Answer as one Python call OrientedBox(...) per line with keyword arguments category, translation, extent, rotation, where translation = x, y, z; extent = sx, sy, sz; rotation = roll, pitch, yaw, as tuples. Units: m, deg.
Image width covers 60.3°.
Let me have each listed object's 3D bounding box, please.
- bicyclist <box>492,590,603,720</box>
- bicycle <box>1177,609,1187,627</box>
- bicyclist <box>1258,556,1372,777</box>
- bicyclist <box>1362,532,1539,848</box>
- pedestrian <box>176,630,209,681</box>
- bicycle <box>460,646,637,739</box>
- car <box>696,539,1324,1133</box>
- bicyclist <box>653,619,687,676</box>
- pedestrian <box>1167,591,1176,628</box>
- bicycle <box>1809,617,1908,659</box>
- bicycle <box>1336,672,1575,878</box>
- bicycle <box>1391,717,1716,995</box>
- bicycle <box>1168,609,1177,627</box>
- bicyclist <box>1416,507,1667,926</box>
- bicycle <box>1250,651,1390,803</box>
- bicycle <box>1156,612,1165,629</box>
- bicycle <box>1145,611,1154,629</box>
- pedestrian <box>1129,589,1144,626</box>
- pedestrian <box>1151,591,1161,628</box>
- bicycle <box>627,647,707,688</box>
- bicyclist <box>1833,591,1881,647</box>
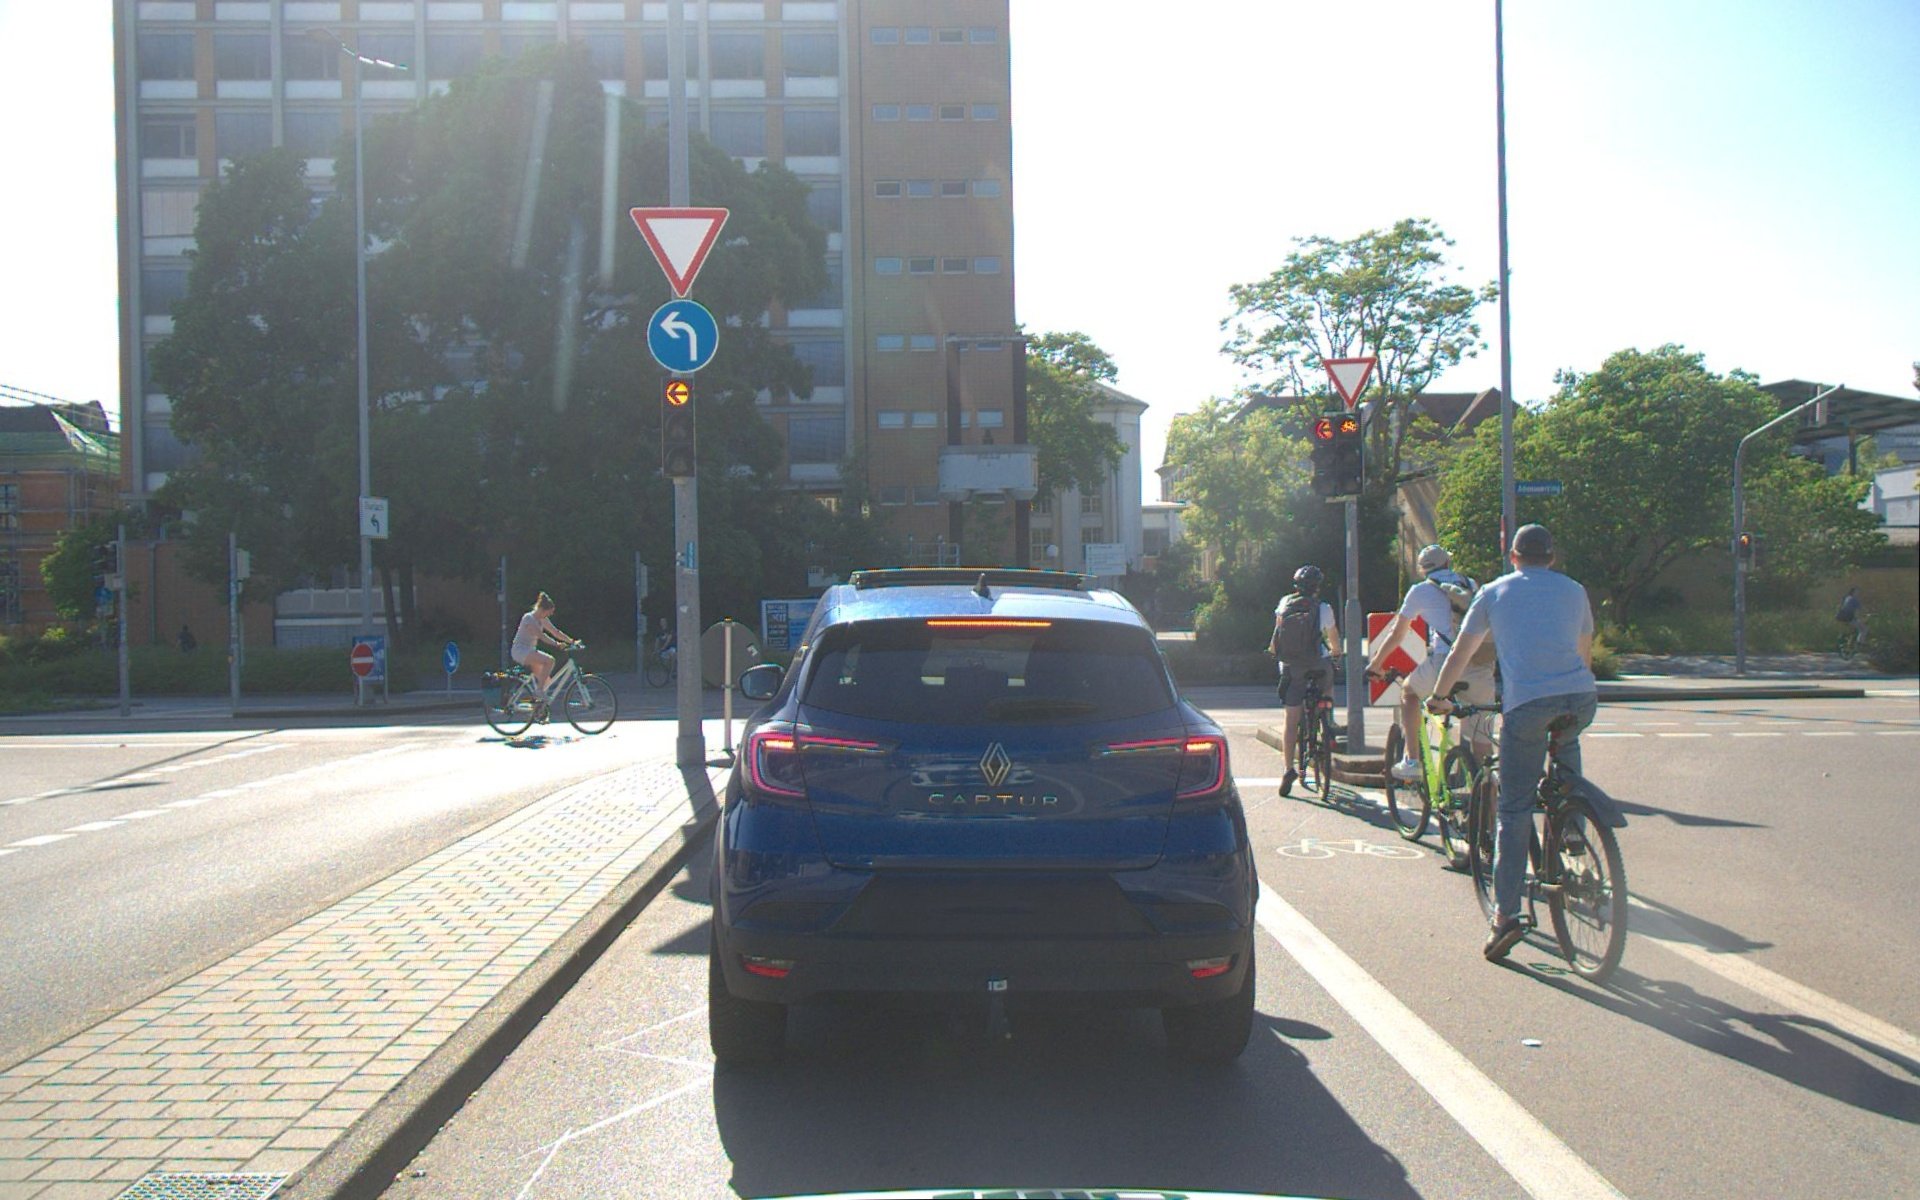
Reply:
OrientedBox(category="bicyclist", translation=(-5.049, 0.664, 20.287), extent=(1.046, 1.526, 0.742), rotation=(-3, -1, 11))
OrientedBox(category="bicycle", translation=(12.687, 1.039, 94.583), extent=(0.397, 0.990, 1.684), rotation=(1, 0, 3))
OrientedBox(category="bicyclist", translation=(2.766, 0.504, 12.968), extent=(0.711, 1.657, 0.969), rotation=(1, 0, 3))
OrientedBox(category="bicyclist", translation=(2.889, 0.512, 9.834), extent=(0.633, 1.769, 1.065), rotation=(1, 0, -6))
OrientedBox(category="pedestrian", translation=(-24.674, 1.786, 53.160), extent=(0.722, 1.631, 0.598), rotation=(-1, 0, 22))
OrientedBox(category="bicycle", translation=(-5.033, 1.129, 20.265), extent=(1.942, 1.012, 0.742), rotation=(-3, -1, 11))
OrientedBox(category="car", translation=(0.068, 0.671, 6.675), extent=(1.767, 1.660, 3.998), rotation=(1, 0, -3))
OrientedBox(category="bicyclist", translation=(-7.665, 1.246, 43.639), extent=(0.728, 1.466, 0.593), rotation=(-1, 0, -27))
OrientedBox(category="pedestrian", translation=(11.834, 0.545, 92.556), extent=(0.465, 2.049, 0.468), rotation=(-1, 0, 5))
OrientedBox(category="bicycle", translation=(22.202, 0.937, 40.895), extent=(2.037, 0.946, 0.696), rotation=(-2, 1, 3))
OrientedBox(category="bicycle", translation=(2.878, 0.981, 9.838), extent=(0.646, 1.020, 1.967), rotation=(1, 0, -6))
OrientedBox(category="bicycle", translation=(2.510, 1.041, 7.267), extent=(0.725, 0.911, 1.978), rotation=(1, 0, 0))
OrientedBox(category="bicycle", translation=(12.162, 1.030, 94.561), extent=(0.397, 0.990, 1.684), rotation=(1, 0, 3))
OrientedBox(category="bicyclist", translation=(2.515, 0.476, 7.264), extent=(0.736, 1.698, 1.016), rotation=(1, 0, 0))
OrientedBox(category="bicycle", translation=(2.768, 0.939, 12.917), extent=(0.723, 1.012, 2.174), rotation=(1, 0, 3))
OrientedBox(category="bicycle", translation=(11.411, 1.162, 94.182), extent=(0.397, 0.990, 1.684), rotation=(1, 0, 3))
OrientedBox(category="bicycle", translation=(10.801, 1.151, 94.216), extent=(0.397, 0.990, 1.684), rotation=(1, 0, 3))
OrientedBox(category="pedestrian", translation=(9.986, 0.412, 93.516), extent=(0.841, 2.049, 0.468), rotation=(-1, 0, 5))
OrientedBox(category="pedestrian", translation=(10.803, 0.522, 91.189), extent=(0.465, 2.049, 0.523), rotation=(-1, 0, 5))
OrientedBox(category="bicycle", translation=(-7.713, 1.770, 43.612), extent=(1.982, 0.981, 0.593), rotation=(-1, 0, -28))
OrientedBox(category="bicyclist", translation=(22.155, 0.470, 40.855), extent=(0.808, 1.339, 0.696), rotation=(-2, 1, 2))
